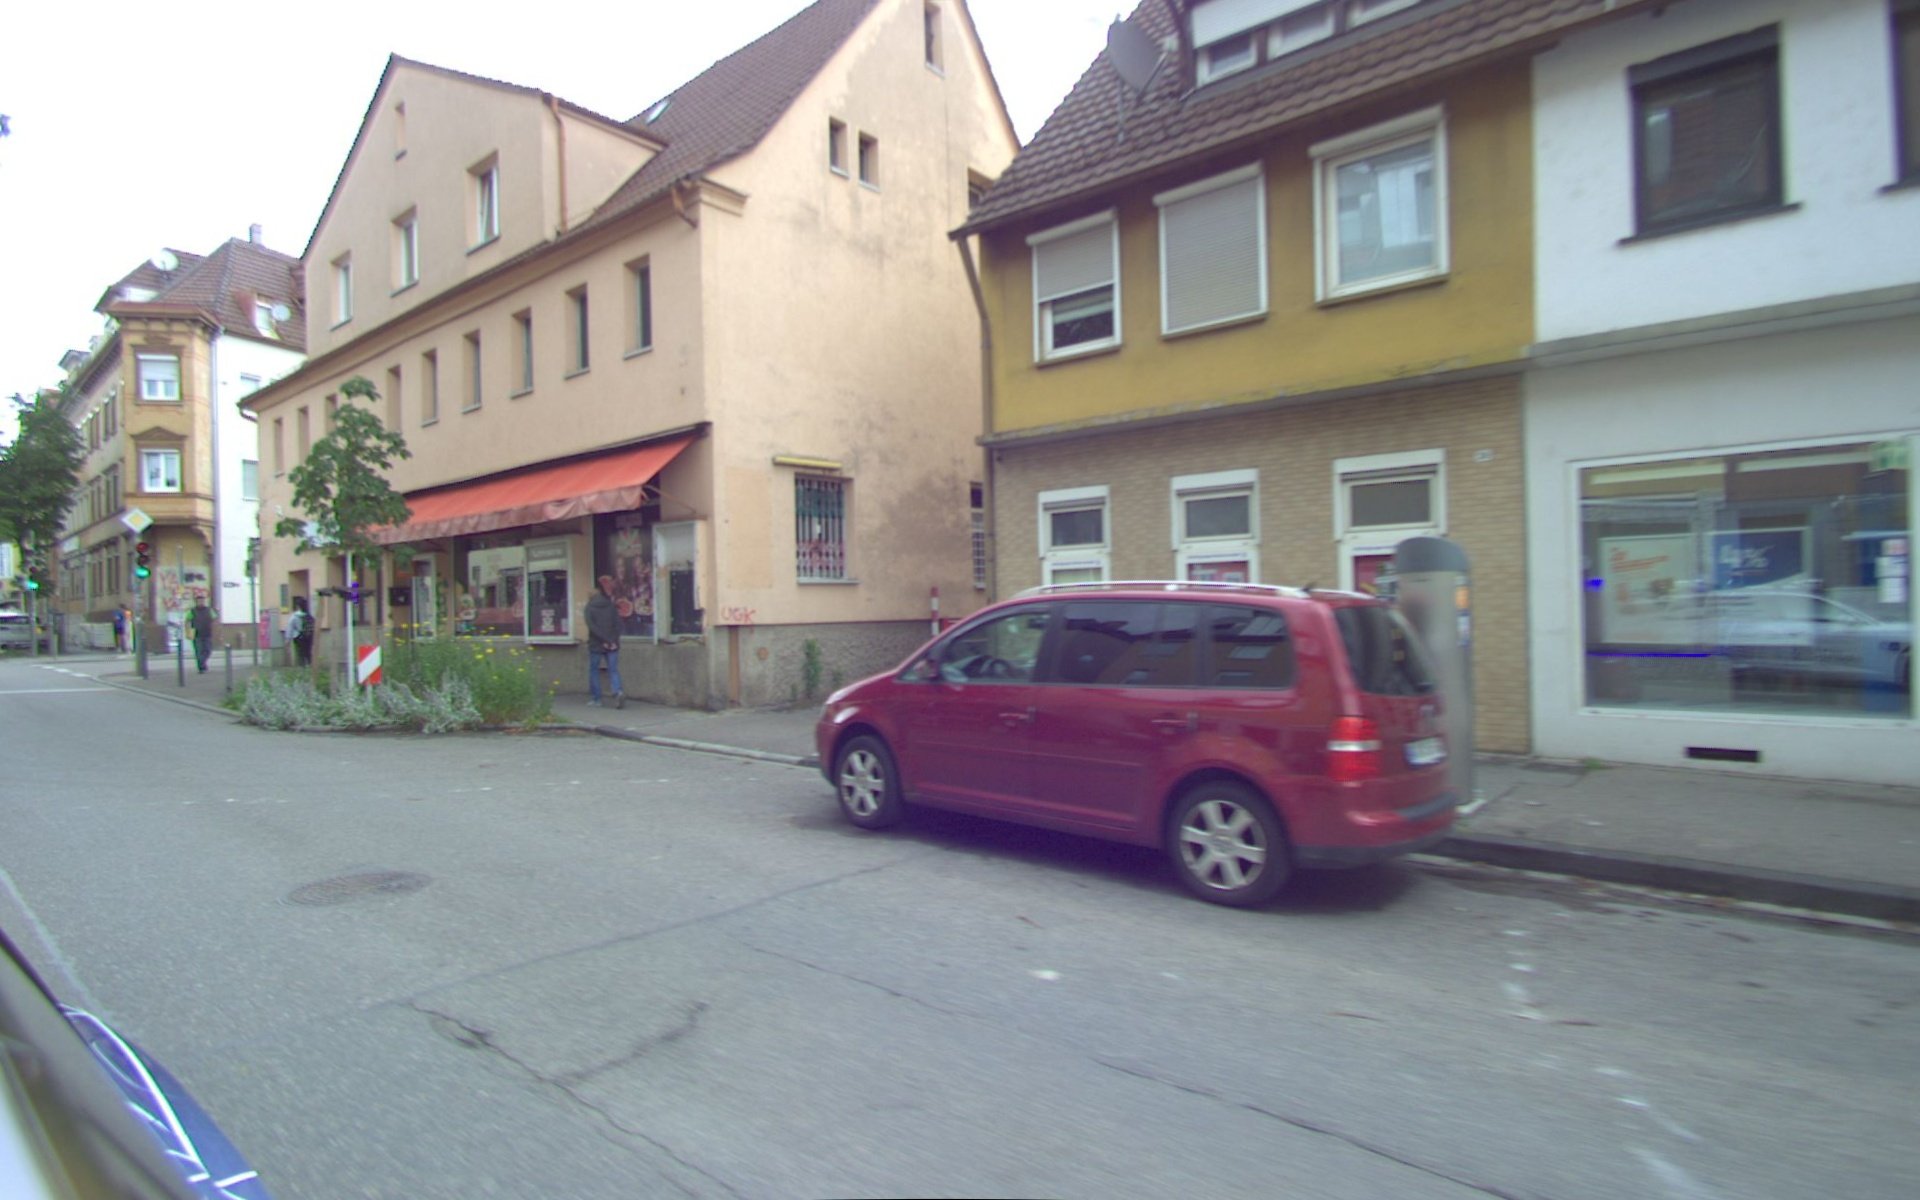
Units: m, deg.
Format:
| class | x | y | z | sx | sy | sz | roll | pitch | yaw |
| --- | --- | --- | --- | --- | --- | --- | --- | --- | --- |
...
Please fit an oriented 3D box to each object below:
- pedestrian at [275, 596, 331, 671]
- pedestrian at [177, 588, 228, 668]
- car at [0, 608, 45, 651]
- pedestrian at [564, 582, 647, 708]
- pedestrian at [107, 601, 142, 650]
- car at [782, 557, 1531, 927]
| class | x | y | z | sx | sy | sz | roll | pitch | yaw |
| --- | --- | --- | --- | --- | --- | --- | --- | --- | --- |
| pedestrian | -13.856 | 0.693 | 21.341 | 0.982 | 1.546 | 0.731 | -1 | 0 | 40 |
| pedestrian | -17.264 | 0.629 | 23.067 | 0.982 | 1.767 | 0.731 | -1 | 0 | 42 |
| car | -39.545 | 1.214 | 42.025 | 4.740 | 1.725 | 1.870 | -1 | -2 | 43 |
| pedestrian | -4.822 | 0.586 | 13.781 | 0.757 | 1.640 | 0.723 | 0 | 2 | 38 |
| pedestrian | -30.508 | 0.920 | 36.946 | 1.155 | 1.731 | 0.731 | -1 | 0 | 39 |
| car | 0.955 | 0.670 | 6.458 | 4.447 | 1.586 | 1.685 | -1 | -3 | 41 |
